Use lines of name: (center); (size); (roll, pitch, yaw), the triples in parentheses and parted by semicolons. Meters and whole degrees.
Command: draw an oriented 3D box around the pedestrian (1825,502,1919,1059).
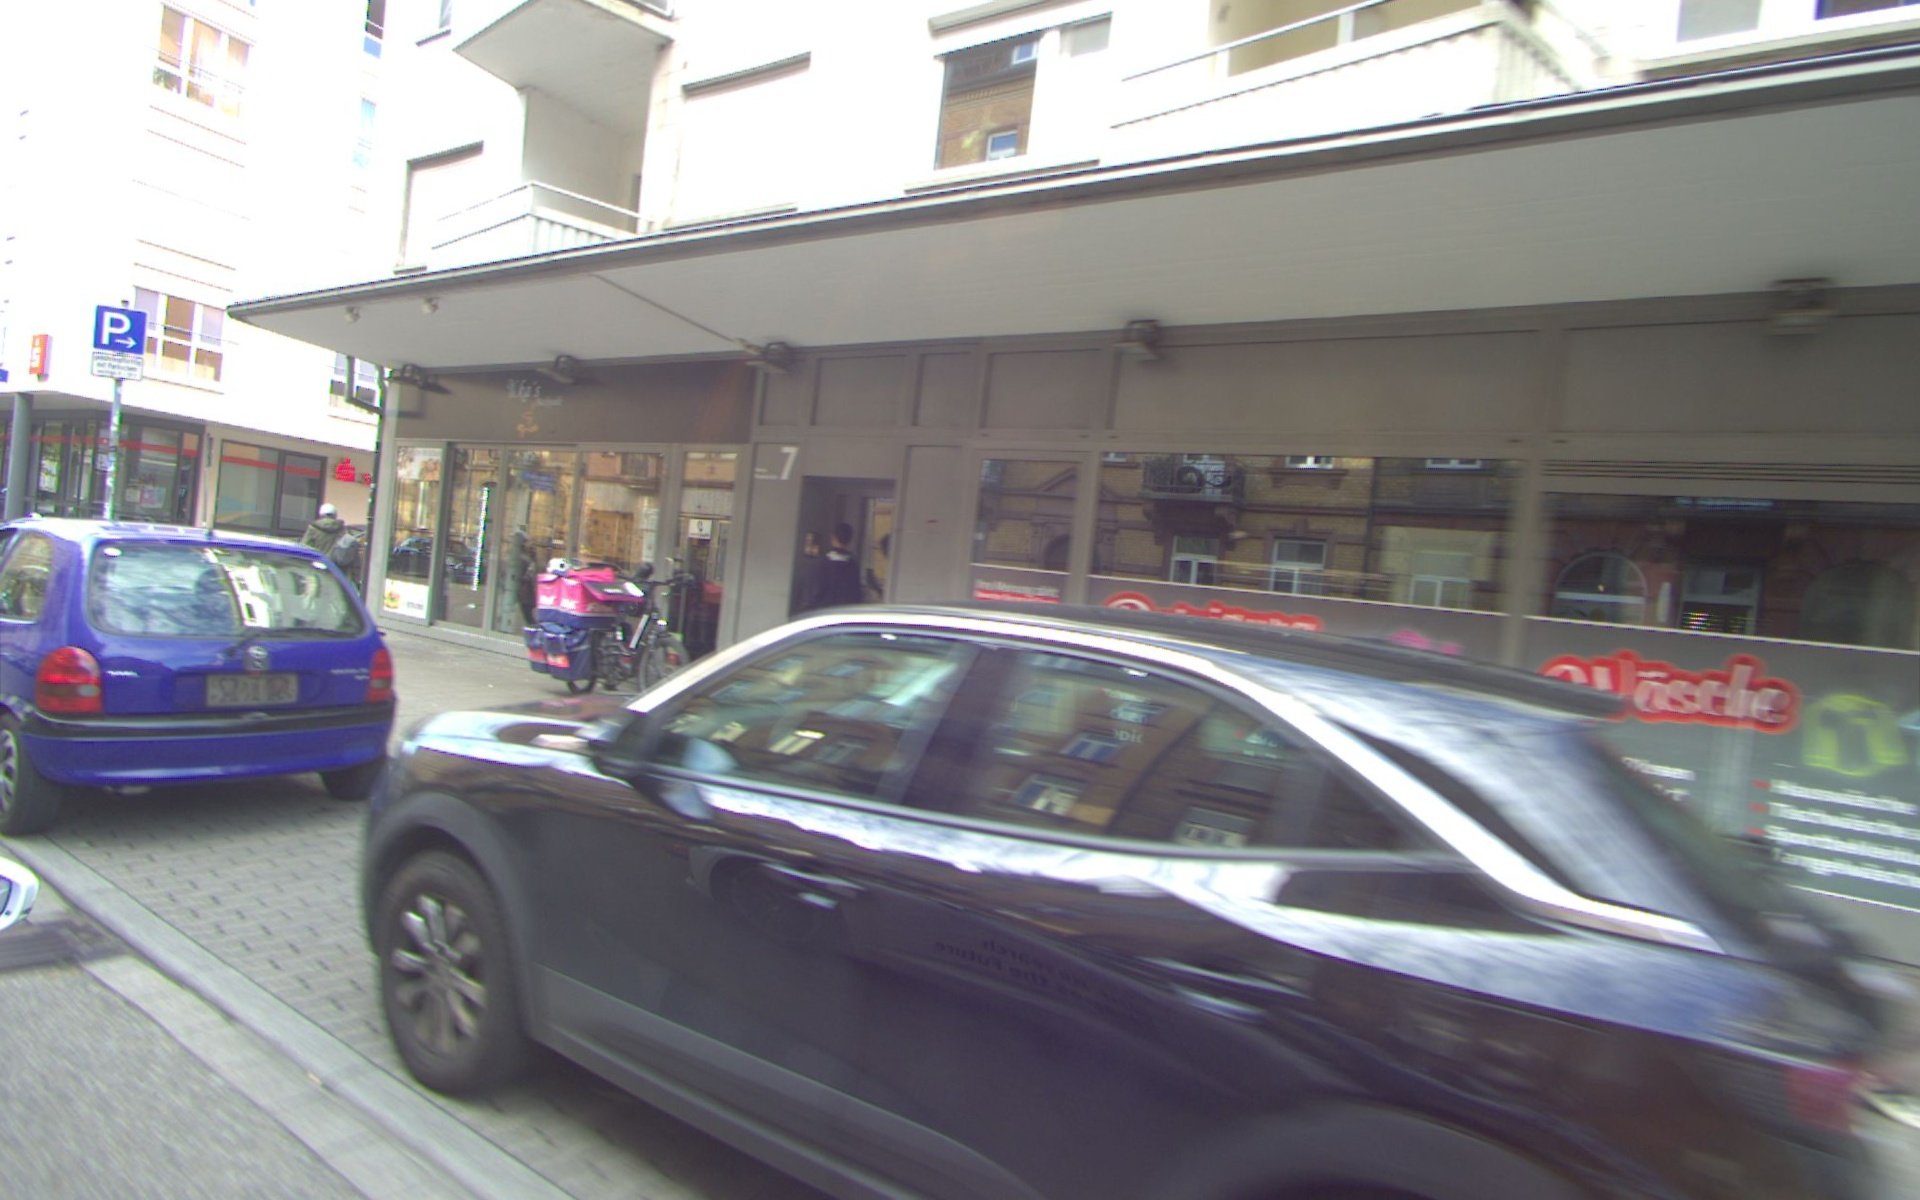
pedestrian: (3.563, 0.605, 3.090); (1.108, 1.747, 0.612); (8, 1, 32)

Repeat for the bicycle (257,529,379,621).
bicycle: (-9.713, -0.382, 15.210); (1.899, 1.206, 0.535); (6, 1, 25)

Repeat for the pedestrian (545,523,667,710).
pedestrian: (-3.280, 0.141, 9.328); (0.768, 1.610, 0.643); (7, 3, 35)

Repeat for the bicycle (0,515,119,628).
bicycle: (-10.393, -0.357, 10.798); (1.931, 1.109, 0.688); (5, 1, -14)

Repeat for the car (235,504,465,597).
car: (-14.785, -1.157, 24.623); (1.778, 1.651, 4.363); (9, 2, 34)

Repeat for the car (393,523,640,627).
car: (-8.133, -0.405, 18.746); (1.768, 1.519, 3.786); (6, 0, 33)

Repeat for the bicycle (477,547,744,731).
bicycle: (-3.211, 0.291, 9.110); (2.459, 1.308, 0.918); (7, 3, 34)

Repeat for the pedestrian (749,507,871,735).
pedestrian: (-1.330, 0.184, 8.845); (0.701, 1.884, 0.640); (6, 1, -28)

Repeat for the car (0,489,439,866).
car: (-4.892, 0.181, 5.809); (3.966, 1.458, 1.595); (7, 2, 34)

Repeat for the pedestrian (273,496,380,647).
pedestrian: (-7.253, -0.323, 11.513); (0.820, 1.609, 0.771); (5, 2, -42)

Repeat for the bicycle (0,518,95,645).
bicycle: (-9.331, -0.237, 9.379); (1.741, 1.109, 0.682); (5, 2, -14)

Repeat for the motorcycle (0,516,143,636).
motorcycle: (-9.551, -0.272, 10.329); (1.638, 1.109, 0.606); (5, 2, -14)

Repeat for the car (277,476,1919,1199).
car: (-0.032, 0.650, 2.866); (3.837, 1.598, 1.689); (7, 2, 32)
